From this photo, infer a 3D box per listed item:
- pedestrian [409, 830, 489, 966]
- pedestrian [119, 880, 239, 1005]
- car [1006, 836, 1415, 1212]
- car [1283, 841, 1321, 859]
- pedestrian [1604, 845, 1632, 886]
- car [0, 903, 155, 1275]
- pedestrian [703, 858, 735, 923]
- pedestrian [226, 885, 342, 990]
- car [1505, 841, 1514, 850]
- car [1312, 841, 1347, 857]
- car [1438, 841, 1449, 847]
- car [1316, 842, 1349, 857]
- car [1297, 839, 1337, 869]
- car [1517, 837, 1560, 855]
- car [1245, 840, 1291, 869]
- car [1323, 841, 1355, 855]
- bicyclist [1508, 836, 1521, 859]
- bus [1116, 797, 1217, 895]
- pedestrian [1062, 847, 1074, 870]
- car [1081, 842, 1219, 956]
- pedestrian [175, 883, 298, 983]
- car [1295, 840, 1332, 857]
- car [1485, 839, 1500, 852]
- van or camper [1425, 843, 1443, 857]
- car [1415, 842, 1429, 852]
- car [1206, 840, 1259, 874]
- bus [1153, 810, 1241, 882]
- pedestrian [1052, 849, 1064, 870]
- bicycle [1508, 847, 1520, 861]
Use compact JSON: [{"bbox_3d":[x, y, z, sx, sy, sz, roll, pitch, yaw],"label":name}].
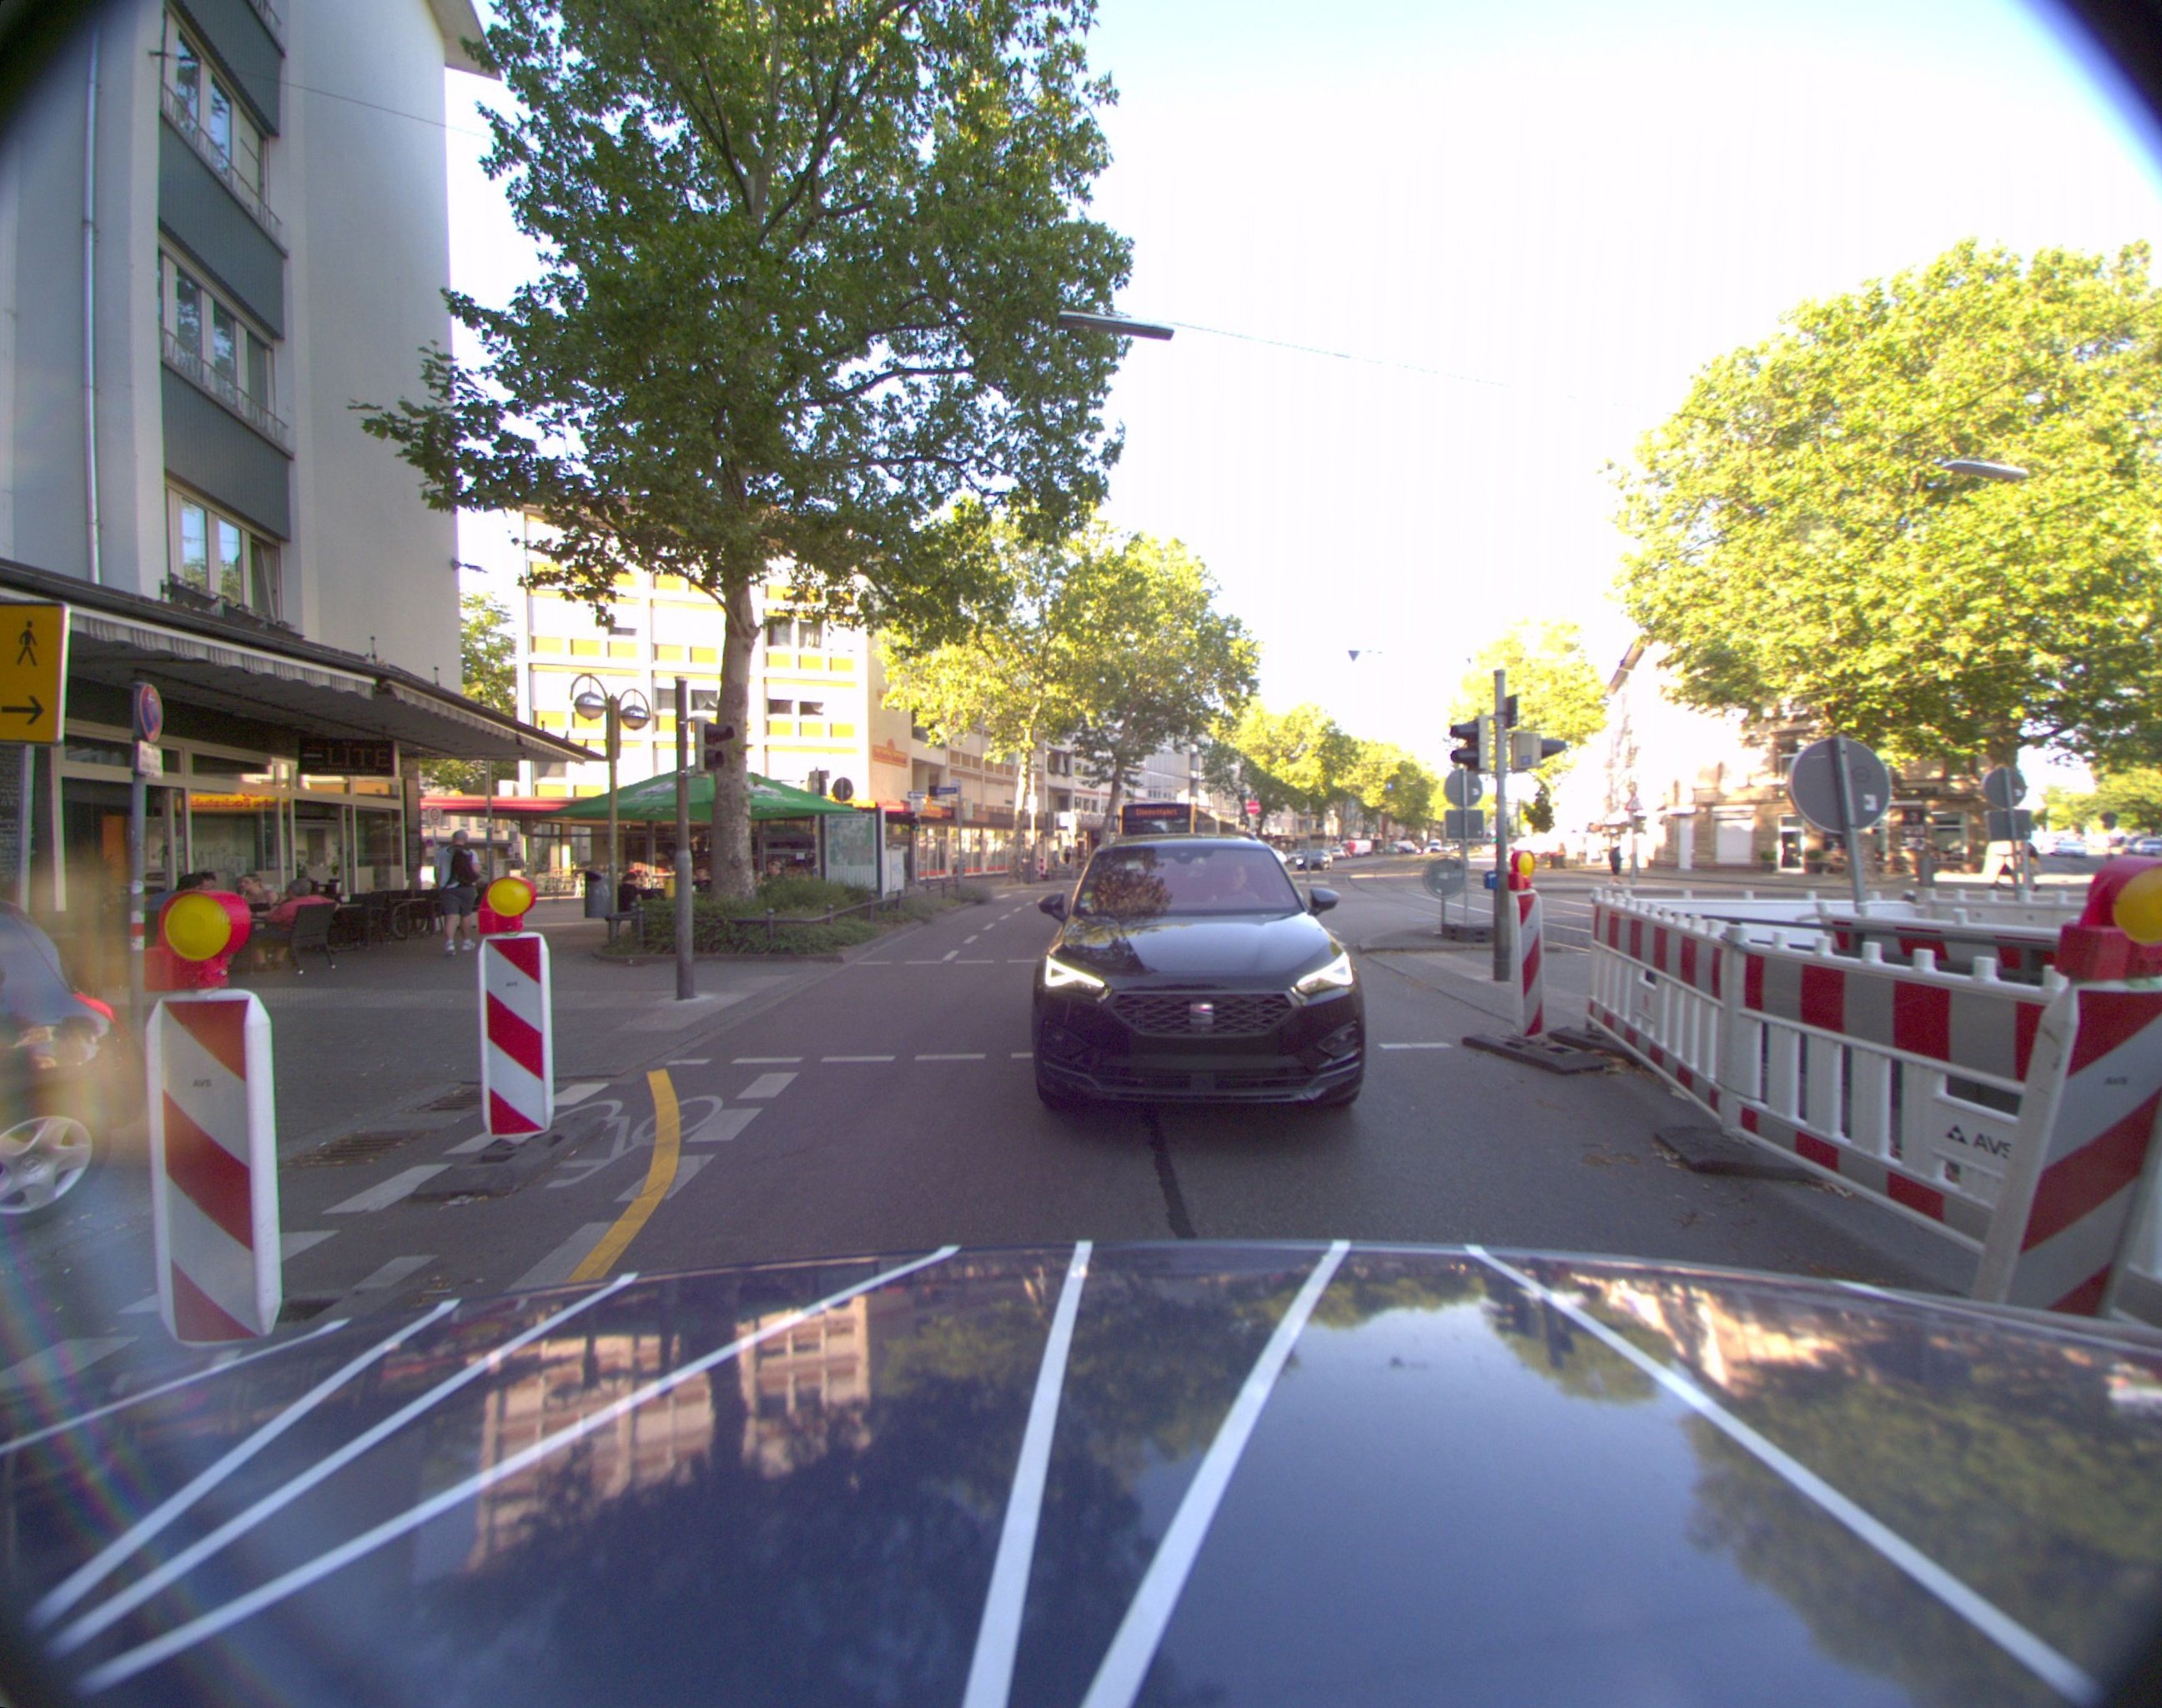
[{"bbox_3d":[-9.446,0.623,11.391,0.649,1.948,0.888,-1,1,-23],"label":"pedestrian"},{"bbox_3d":[-10.211,0.960,8.607,0.789,1.299,0.701,0,1,28],"label":"pedestrian"},{"bbox_3d":[0.619,0.757,5.443,1.841,1.696,4.000,-1,1,1],"label":"car"},{"bbox_3d":[24.630,-0.421,84.483,3.991,2.002,2.003,0,1,18],"label":"car"},{"bbox_3d":[20.323,0.433,28.755,0.603,1.524,0.745,0,1,12],"label":"pedestrian"},{"bbox_3d":[-5.229,0.969,1.766,1.771,1.459,3.610,2,1,-2],"label":"car"},{"bbox_3d":[-9.338,0.925,19.621,0.629,1.628,0.531,-1,1,-15],"label":"pedestrian"},{"bbox_3d":[-9.854,1.005,9.407,0.877,1.186,0.701,0,1,24],"label":"pedestrian"},{"bbox_3d":[95.204,-1.893,168.893,1.686,1.841,4.007,0,1,29],"label":"car"},{"bbox_3d":[32.245,-0.687,98.598,3.994,2.002,2.001,-1,1,8],"label":"car"},{"bbox_3d":[79.900,-2.209,167.422,1.700,1.462,3.771,0,1,31],"label":"car"},{"bbox_3d":[34.293,-0.582,103.703,3.994,2.002,2.001,-1,1,8],"label":"car"},{"bbox_3d":[16.584,-0.046,53.328,1.995,2.002,4.007,0,1,27],"label":"car"},{"bbox_3d":[52.376,-0.951,86.959,4.001,2.002,1.997,-1,1,-13],"label":"car"},{"bbox_3d":[13.578,0.015,55.057,1.994,2.002,4.008,0,1,33],"label":"car"},{"bbox_3d":[36.486,-0.853,107.699,3.994,2.002,2.001,-1,1,8],"label":"car"},{"bbox_3d":[36.986,-0.554,64.837,0.854,2.002,0.985,0,1,27],"label":"bicyclist"},{"bbox_3d":[3.448,-0.296,28.355,2.718,3.088,8.629,0,1,13],"label":"bus"},{"bbox_3d":[-0.889,0.305,52.059,0.627,1.577,0.532,0,1,20],"label":"pedestrian"},{"bbox_3d":[1.028,0.637,13.064,1.998,1.634,4.075,-1,1,1],"label":"car"},{"bbox_3d":[-10.735,0.977,9.684,0.647,1.186,0.792,0,1,7],"label":"pedestrian"},{"bbox_3d":[28.345,-0.698,92.730,3.994,2.002,2.001,-1,1,8],"label":"car"},{"bbox_3d":[64.982,-1.318,119.961,1.994,2.002,4.007,0,1,29],"label":"car"},{"bbox_3d":[69.573,-0.759,149.765,2.420,2.702,6.144,0,1,32],"label":"van or camper"},{"bbox_3d":[58.469,-1.166,130.225,1.836,1.692,4.138,0,1,31],"label":"car"},{"bbox_3d":[9.239,0.142,46.160,1.995,2.002,4.105,0,1,29],"label":"car"},{"bbox_3d":[5.823,-0.384,36.846,2.717,3.088,8.608,0,1,19],"label":"bus"},{"bbox_3d":[-1.589,0.380,52.279,0.627,1.429,0.532,0,1,20],"label":"pedestrian"},{"bbox_3d":[36.989,-0.036,64.933,0.850,1.186,2.470,0,1,28],"label":"bicycle"}]
